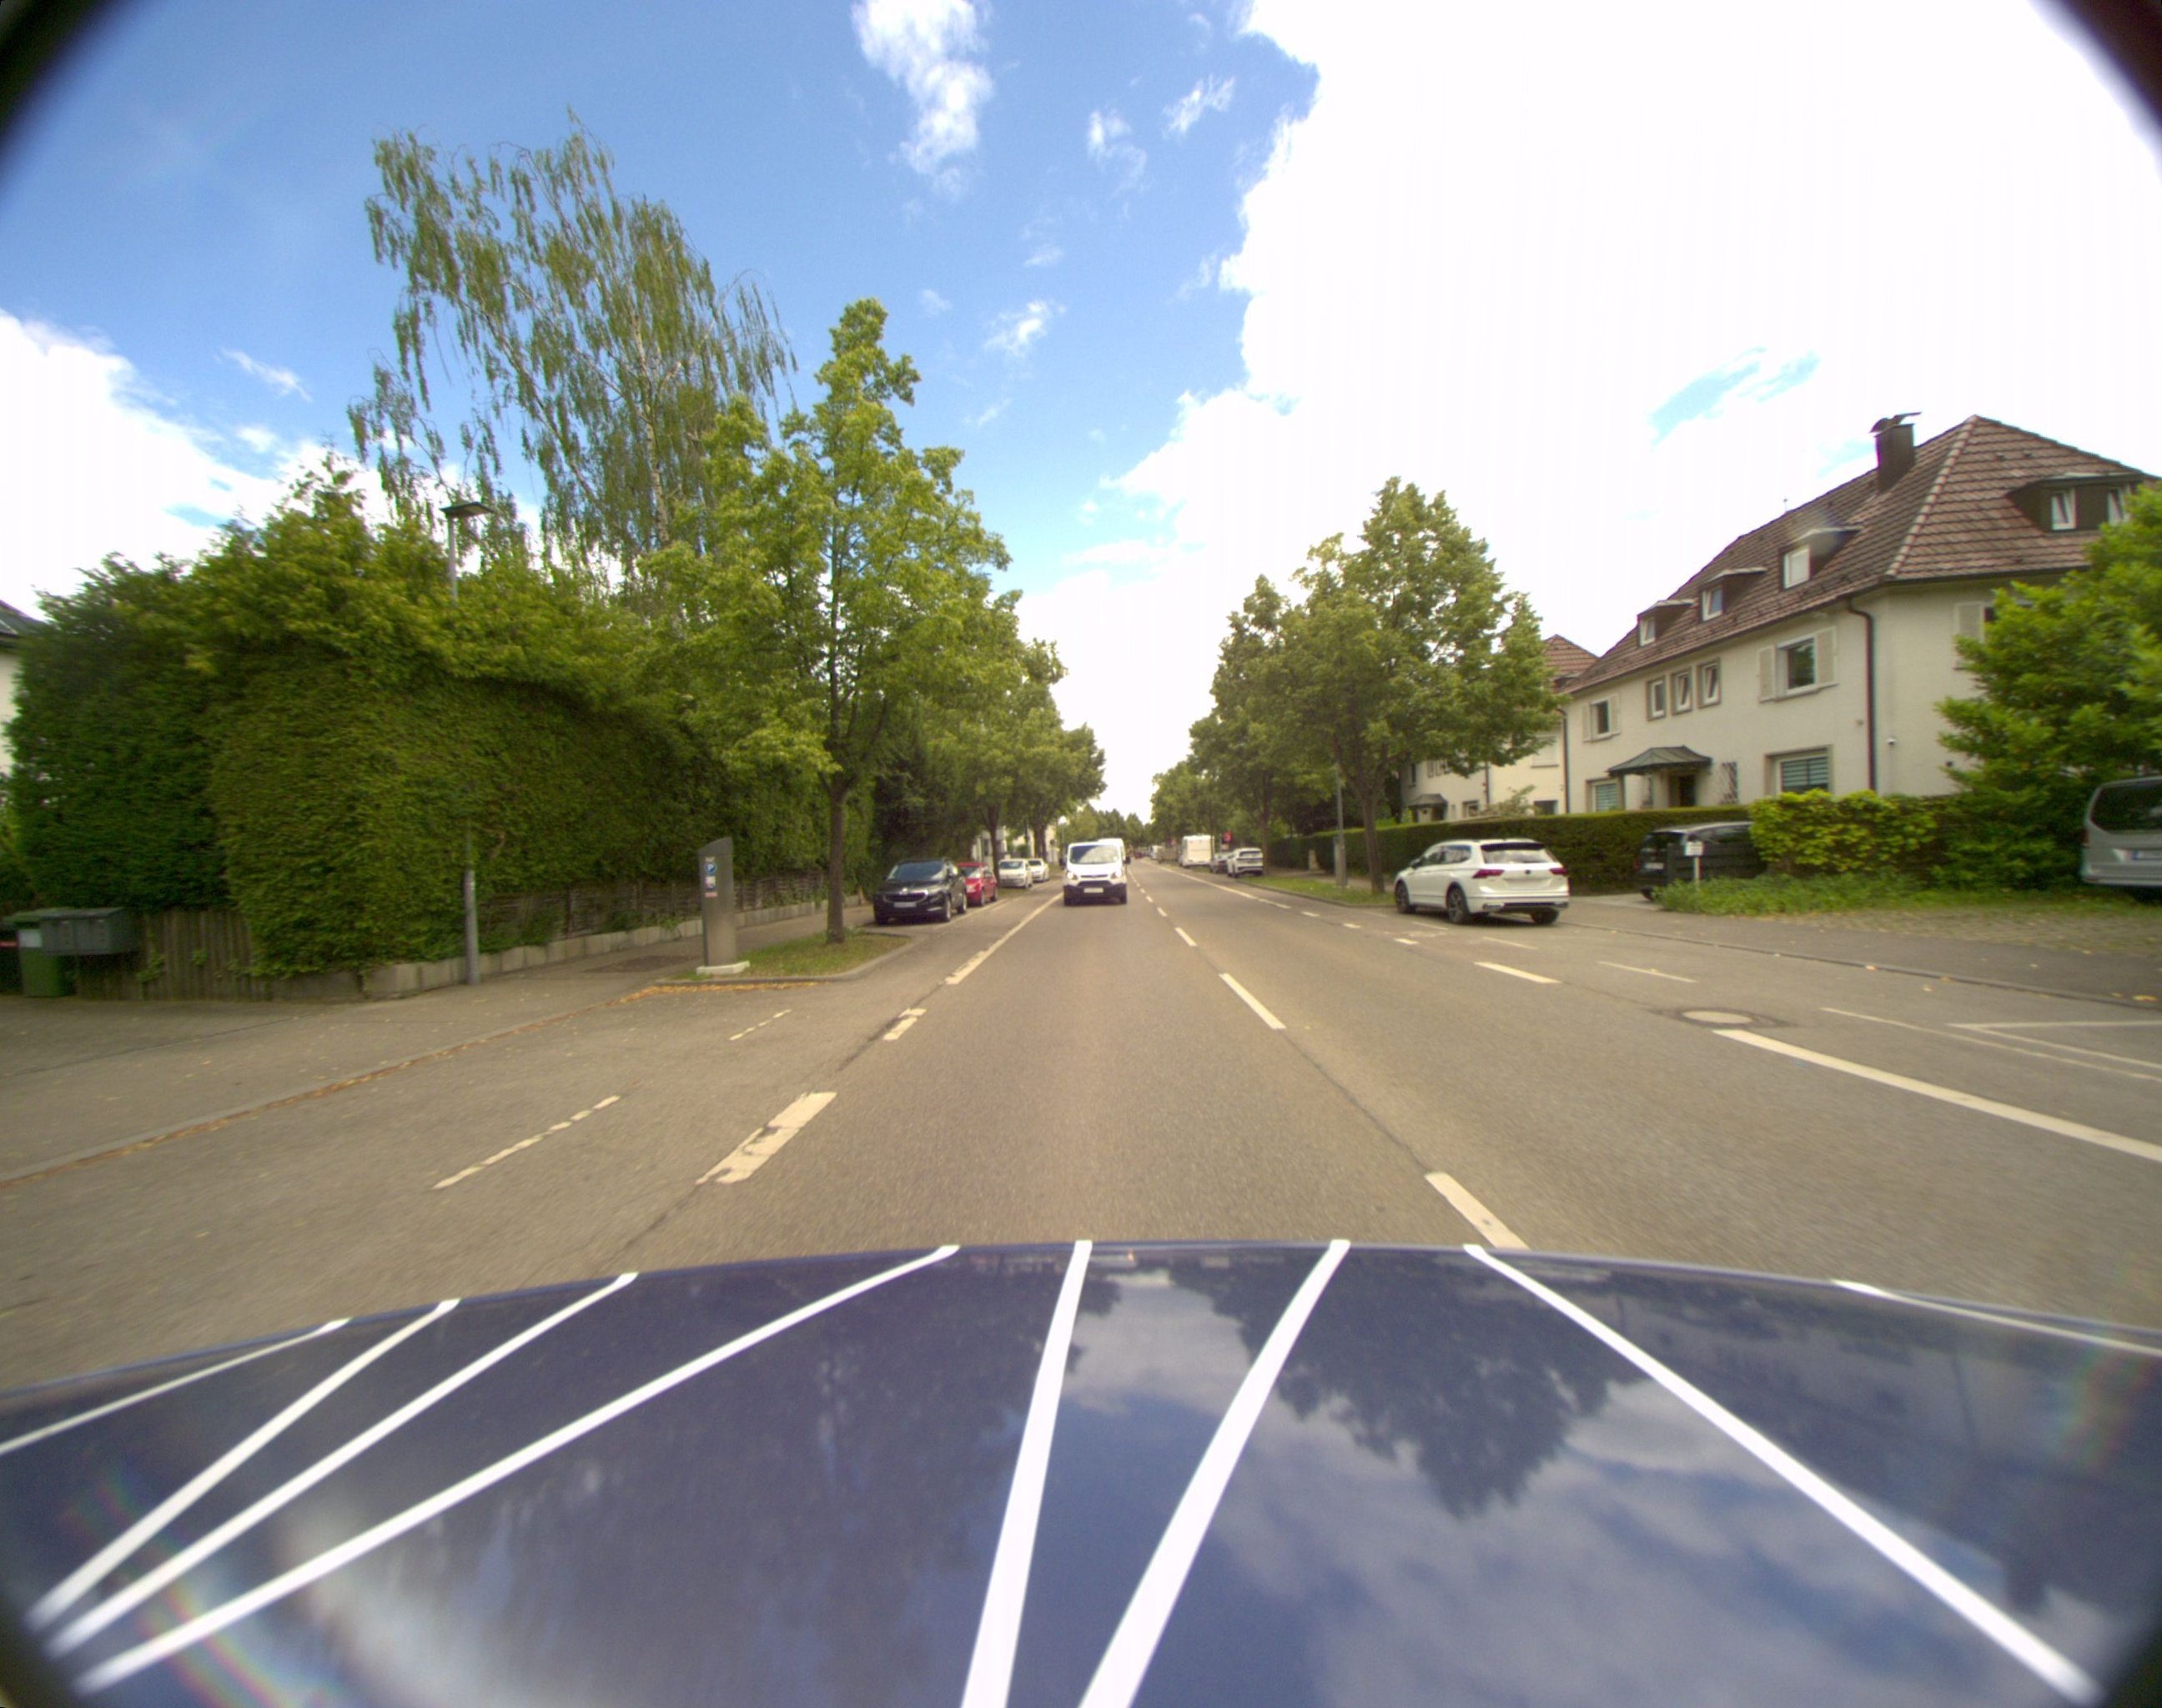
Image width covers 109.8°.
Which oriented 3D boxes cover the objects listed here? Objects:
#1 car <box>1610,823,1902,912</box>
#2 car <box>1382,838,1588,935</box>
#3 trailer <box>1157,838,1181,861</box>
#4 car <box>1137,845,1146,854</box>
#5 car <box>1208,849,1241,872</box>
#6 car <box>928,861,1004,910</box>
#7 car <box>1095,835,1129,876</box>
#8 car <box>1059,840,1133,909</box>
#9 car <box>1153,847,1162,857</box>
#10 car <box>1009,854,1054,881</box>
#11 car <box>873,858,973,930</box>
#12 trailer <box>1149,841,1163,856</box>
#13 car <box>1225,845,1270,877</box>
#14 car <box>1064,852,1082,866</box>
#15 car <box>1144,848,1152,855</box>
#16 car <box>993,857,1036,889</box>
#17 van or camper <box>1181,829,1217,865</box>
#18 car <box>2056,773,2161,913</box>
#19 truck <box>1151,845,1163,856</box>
[{"bbox_3d":[13.380,0.257,15.265,4.207,1.576,1.765,-2,1,3],"label":"car"},{"bbox_3d":[8.146,0.565,15.938,1.878,1.678,4.866,-2,0,3],"label":"car"},{"bbox_3d":[12.277,-0.652,106.782,2.680,2.924,7.475,-3,1,2],"label":"trailer"},{"bbox_3d":[13.706,-1.009,172.169,1.764,1.792,4.769,-2,0,3],"label":"car"},{"bbox_3d":[10.000,0.401,53.257,1.559,1.461,4.452,-2,0,1],"label":"car"},{"bbox_3d":[-3.799,1.016,25.713,1.641,1.412,4.001,-2,0,4],"label":"car"},{"bbox_3d":[2.135,0.093,51.105,1.998,2.584,4.001,-3,0,5],"label":"car"},{"bbox_3d":[0.621,0.598,25.468,1.998,2.002,5.320,-2,0,6],"label":"car"},{"bbox_3d":[14.893,-0.395,147.841,1.692,1.674,4.226,-2,1,4],"label":"car"},{"bbox_3d":[-2.922,0.758,46.043,2.025,1.435,5.026,-3,0,3],"label":"car"},{"bbox_3d":[-4.033,0.952,20.039,1.642,1.606,4.169,-2,0,0],"label":"car"},{"bbox_3d":[15.243,-1.119,154.476,2.376,2.946,7.014,-2,1,8],"label":"trailer"},{"bbox_3d":[9.429,0.373,43.265,1.821,1.642,4.700,-3,0,5],"label":"car"},{"bbox_3d":[-0.827,0.534,83.389,1.691,1.484,4.227,-2,0,2],"label":"car"},{"bbox_3d":[18.391,-0.710,207.622,1.997,2.002,4.002,-2,0,8],"label":"car"},{"bbox_3d":[-3.242,0.902,37.642,1.619,1.451,3.657,-2,0,3],"label":"car"},{"bbox_3d":[10.682,-0.620,69.244,2.441,2.992,7.694,-2,0,3],"label":"van or camper"},{"bbox_3d":[17.074,-0.223,10.548,4.468,1.925,1.899,-2,1,3],"label":"car"},{"bbox_3d":[16.107,-0.834,161.158,2.299,2.274,6.466,-2,1,8],"label":"truck"}]
